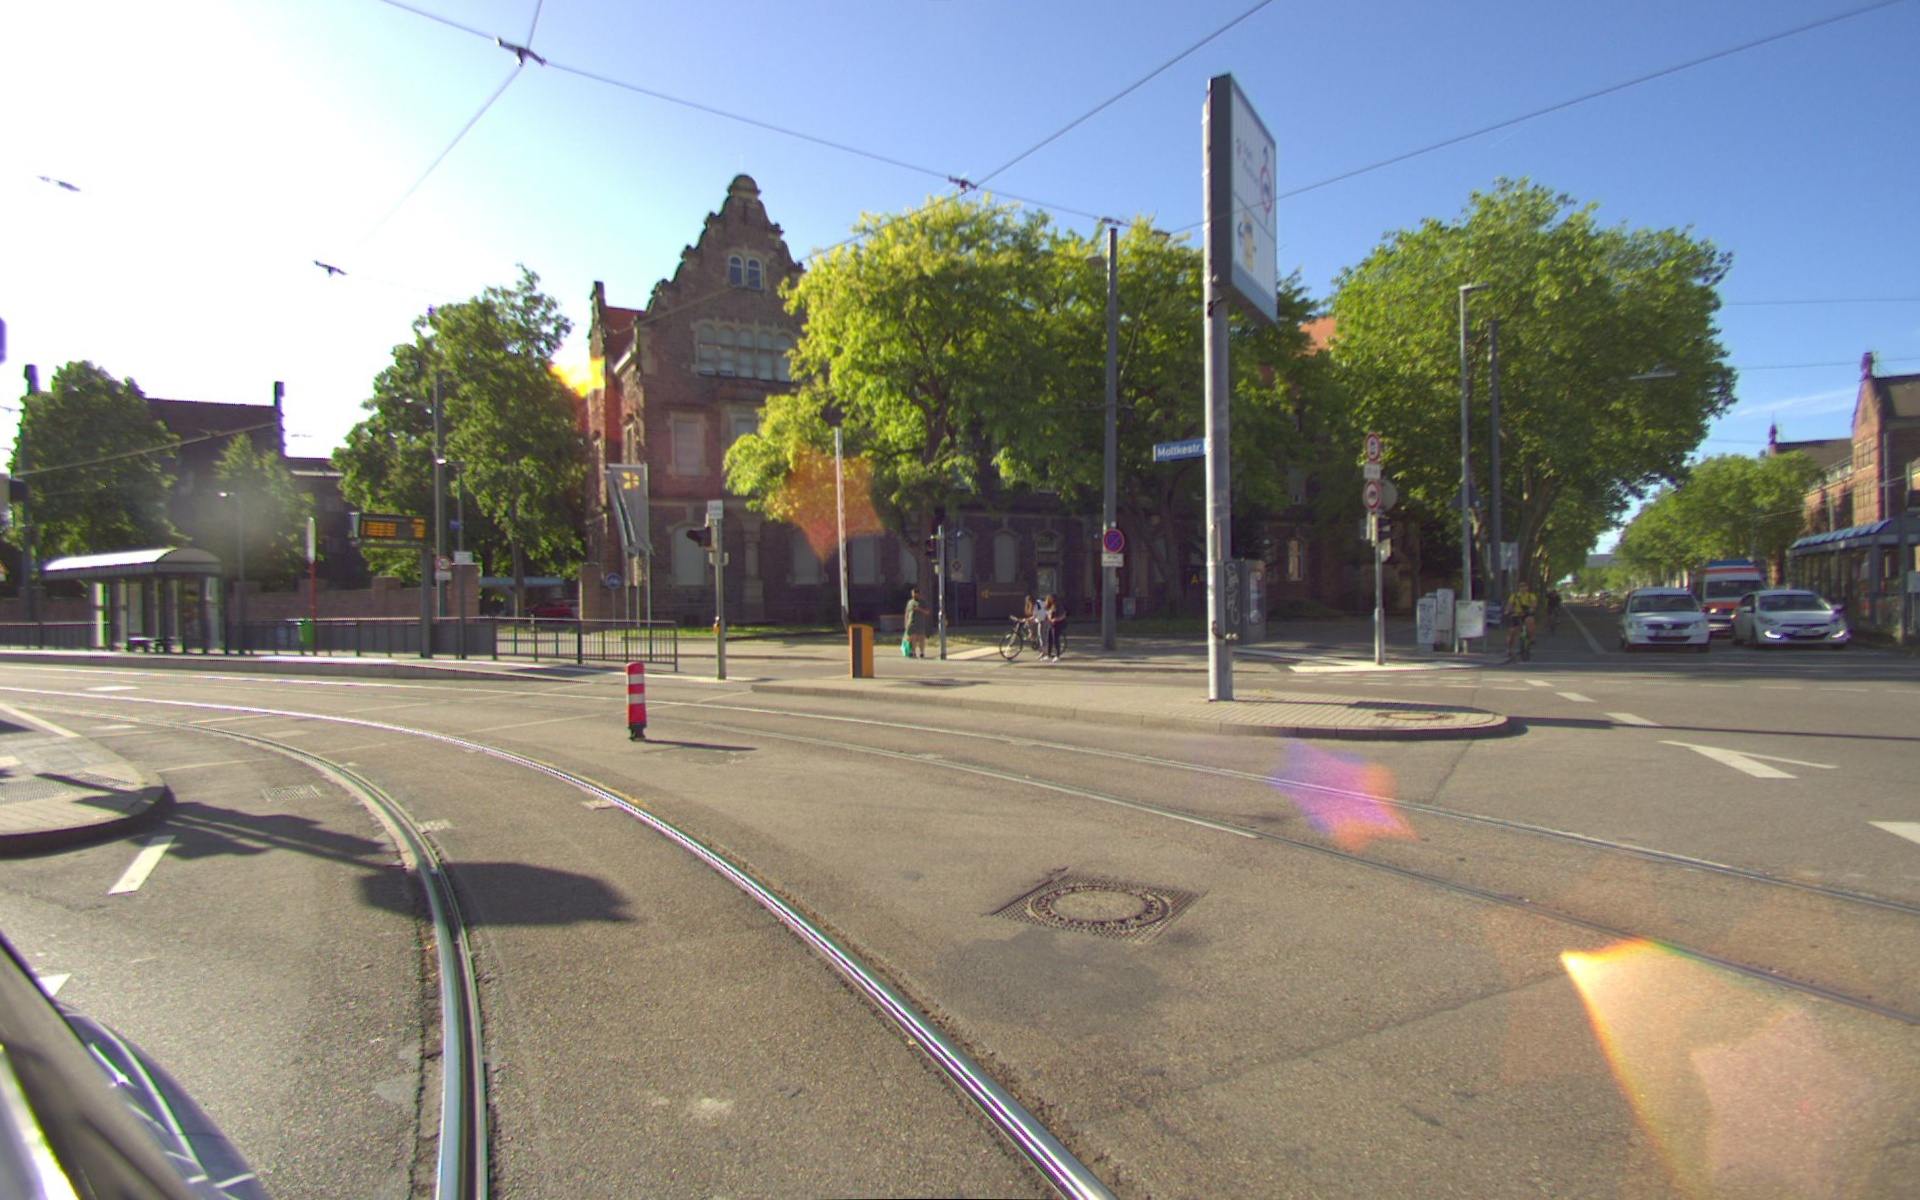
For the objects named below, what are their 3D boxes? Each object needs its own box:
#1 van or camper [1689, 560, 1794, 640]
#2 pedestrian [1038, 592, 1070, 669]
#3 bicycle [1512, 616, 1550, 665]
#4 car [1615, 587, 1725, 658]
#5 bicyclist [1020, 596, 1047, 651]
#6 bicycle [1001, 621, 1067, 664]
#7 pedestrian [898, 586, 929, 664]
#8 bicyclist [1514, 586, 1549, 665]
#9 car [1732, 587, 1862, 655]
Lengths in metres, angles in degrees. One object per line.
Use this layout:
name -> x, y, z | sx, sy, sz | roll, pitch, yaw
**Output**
van or camper -> 25.383, 0.086, 33.077 | 1.993, 2.379, 5.539 | -1, -2, 31
pedestrian -> 2.167, 0.693, 23.246 | 0.662, 1.760, 0.484 | -1, -1, 11
bicycle -> 12.830, 0.909, 22.699 | 0.688, 1.041, 2.077 | -1, -3, 31
car -> 18.011, 0.582, 25.868 | 1.906, 1.631, 4.523 | -2, -2, 31
bicyclist -> 1.788, 0.567, 24.608 | 0.610, 1.294, 0.478 | -1, -1, 2
bicycle -> 1.787, 1.035, 24.610 | 1.572, 1.004, 0.479 | -1, 0, 2
pedestrian -> -1.171, 0.630, 25.596 | 0.690, 1.969, 0.484 | -1, -1, 11
bicyclist -> 12.739, 0.569, 22.557 | 0.668, 1.742, 0.616 | -1, -3, 31
car -> 21.102, 0.535, 25.695 | 1.979, 1.560, 3.991 | -1, -2, 32
